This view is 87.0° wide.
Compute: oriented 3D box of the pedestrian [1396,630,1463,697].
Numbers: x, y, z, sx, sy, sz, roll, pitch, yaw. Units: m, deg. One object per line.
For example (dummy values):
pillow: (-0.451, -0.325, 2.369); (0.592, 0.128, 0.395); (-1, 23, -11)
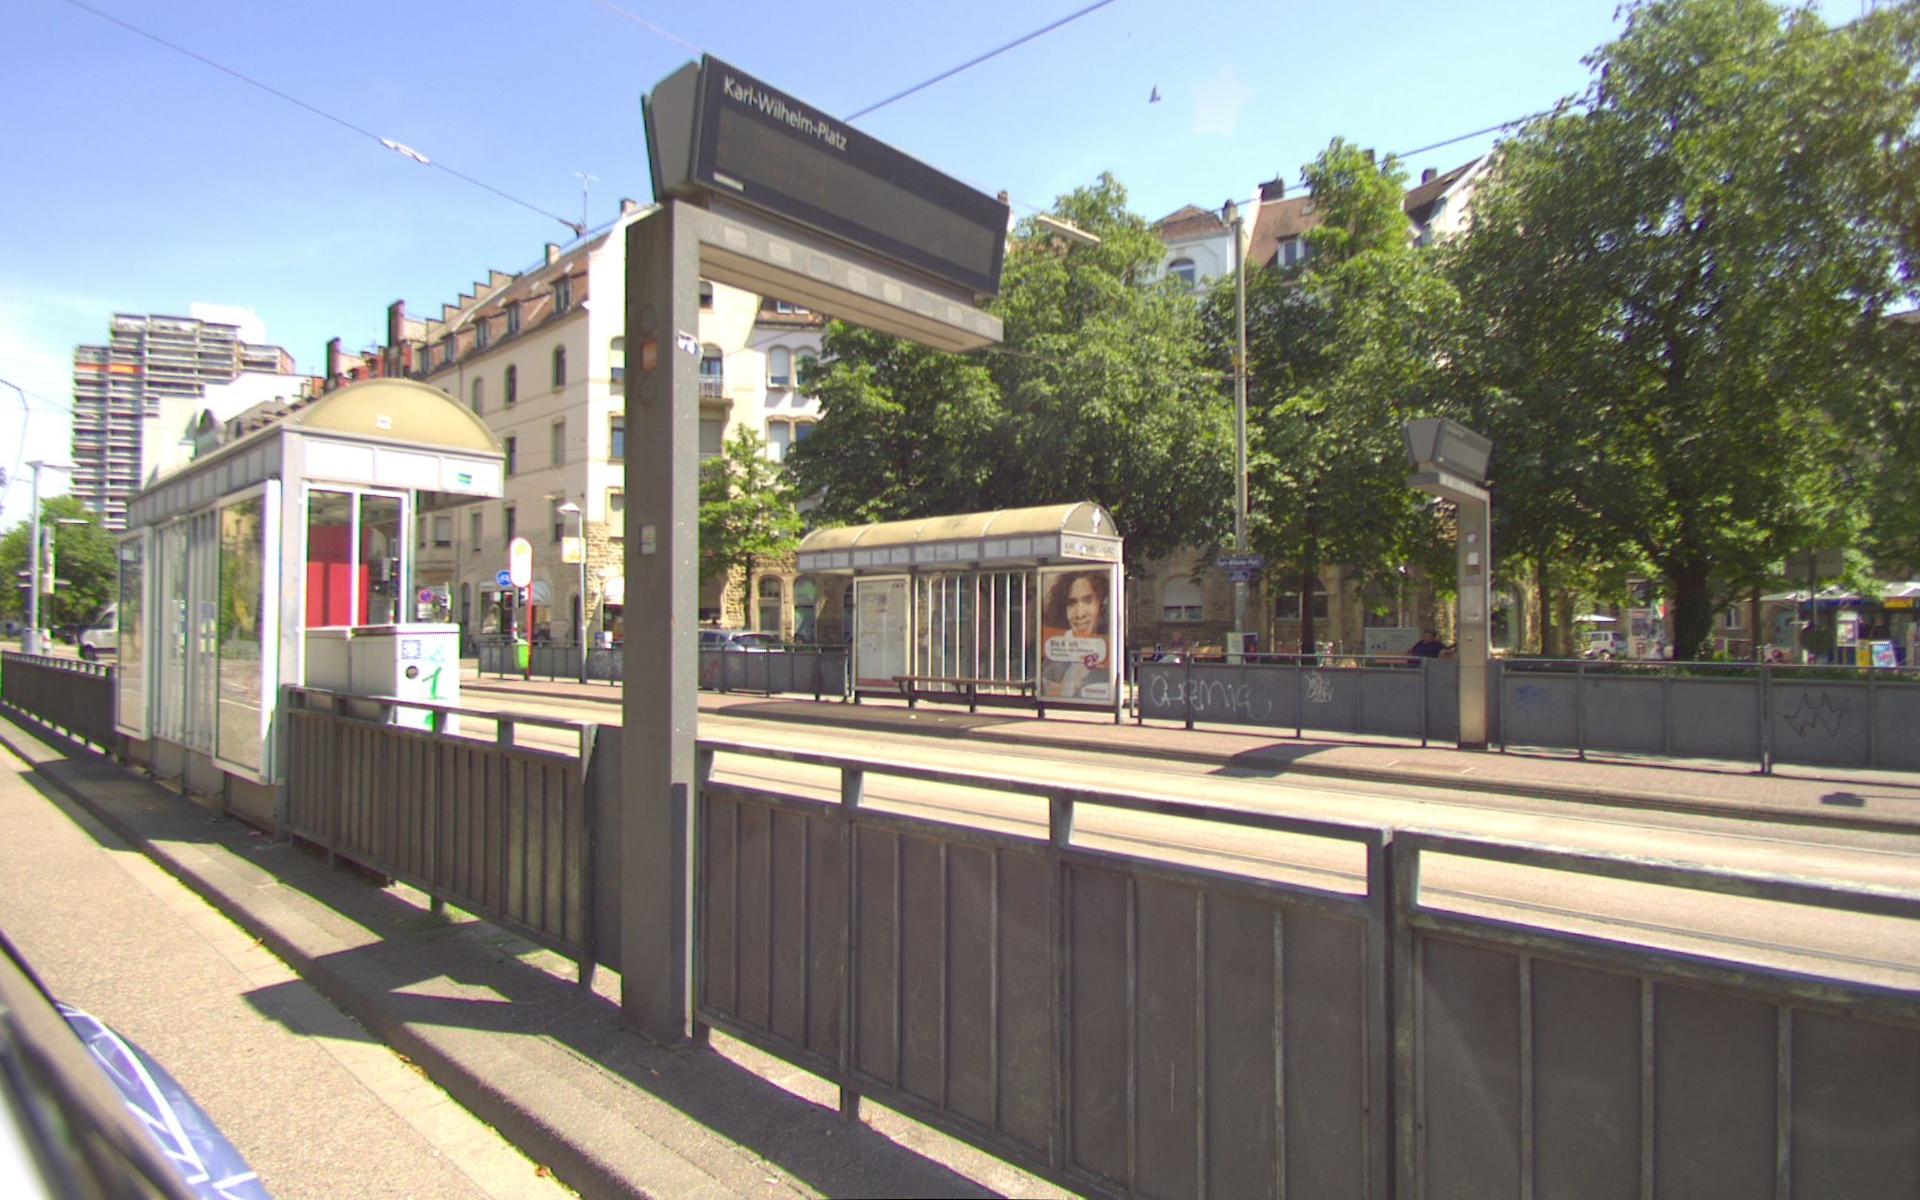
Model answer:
pedestrian: (9.287, 1.240, 20.031); (0.852, 1.253, 0.939); (-1, 0, -43)

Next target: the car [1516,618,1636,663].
car: (26.723, 1.707, 44.000); (1.966, 1.803, 4.011); (-1, 0, -33)

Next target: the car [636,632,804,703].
car: (-5.594, 1.490, 23.352); (3.998, 1.404, 1.789); (-1, 0, 41)

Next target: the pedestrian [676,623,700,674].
pedestrian: (-8.876, 1.573, 33.051); (0.473, 1.659, 0.586); (-2, -3, 41)

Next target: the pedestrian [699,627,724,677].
pedestrian: (-7.979, 1.660, 32.485); (0.473, 1.563, 0.586); (-2, -3, 39)

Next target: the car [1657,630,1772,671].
car: (35.792, 2.352, 48.092); (1.736, 1.721, 3.998); (-1, 0, -33)

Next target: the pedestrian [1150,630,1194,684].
pedestrian: (5.097, 1.357, 24.306); (0.930, 1.253, 0.860); (-1, 0, 17)

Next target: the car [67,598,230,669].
car: (-32.354, 1.310, 40.370); (5.779, 2.693, 2.261); (-1, 0, 18)
